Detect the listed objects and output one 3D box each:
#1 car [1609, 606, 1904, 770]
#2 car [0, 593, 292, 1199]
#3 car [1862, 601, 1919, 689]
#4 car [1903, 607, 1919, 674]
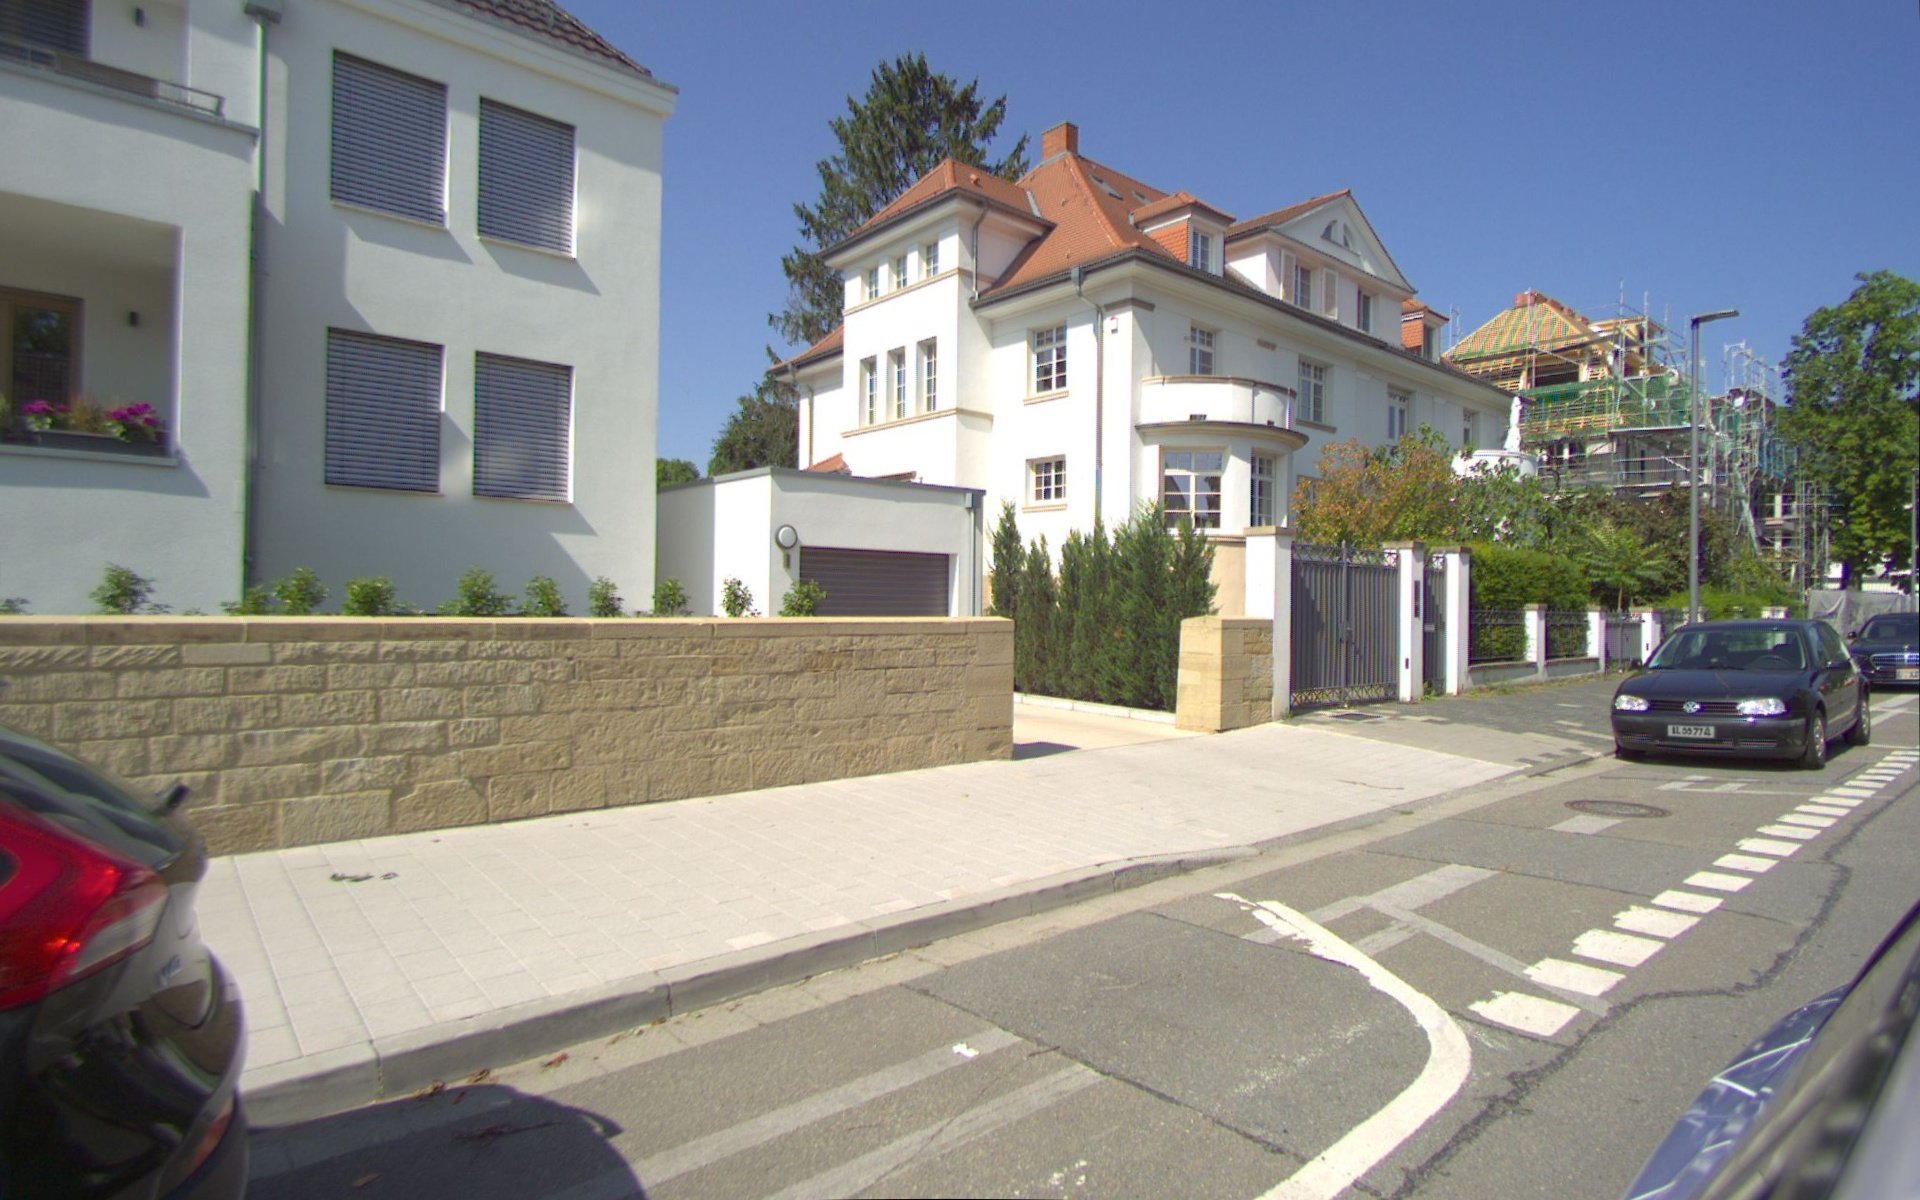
[{"bbox_3d":[8.746,0.849,11.007,3.928,1.468,1.622,0,-4,-39],"label":"car"},{"bbox_3d":[-3.092,0.760,0.789,4.097,1.468,1.723,0,-3,-42],"label":"car"},{"bbox_3d":[19.207,0.834,19.941,4.819,1.603,1.697,1,-3,-44],"label":"car"},{"bbox_3d":[23.100,0.900,23.276,3.721,1.495,1.660,1,-3,-41],"label":"car"}]
